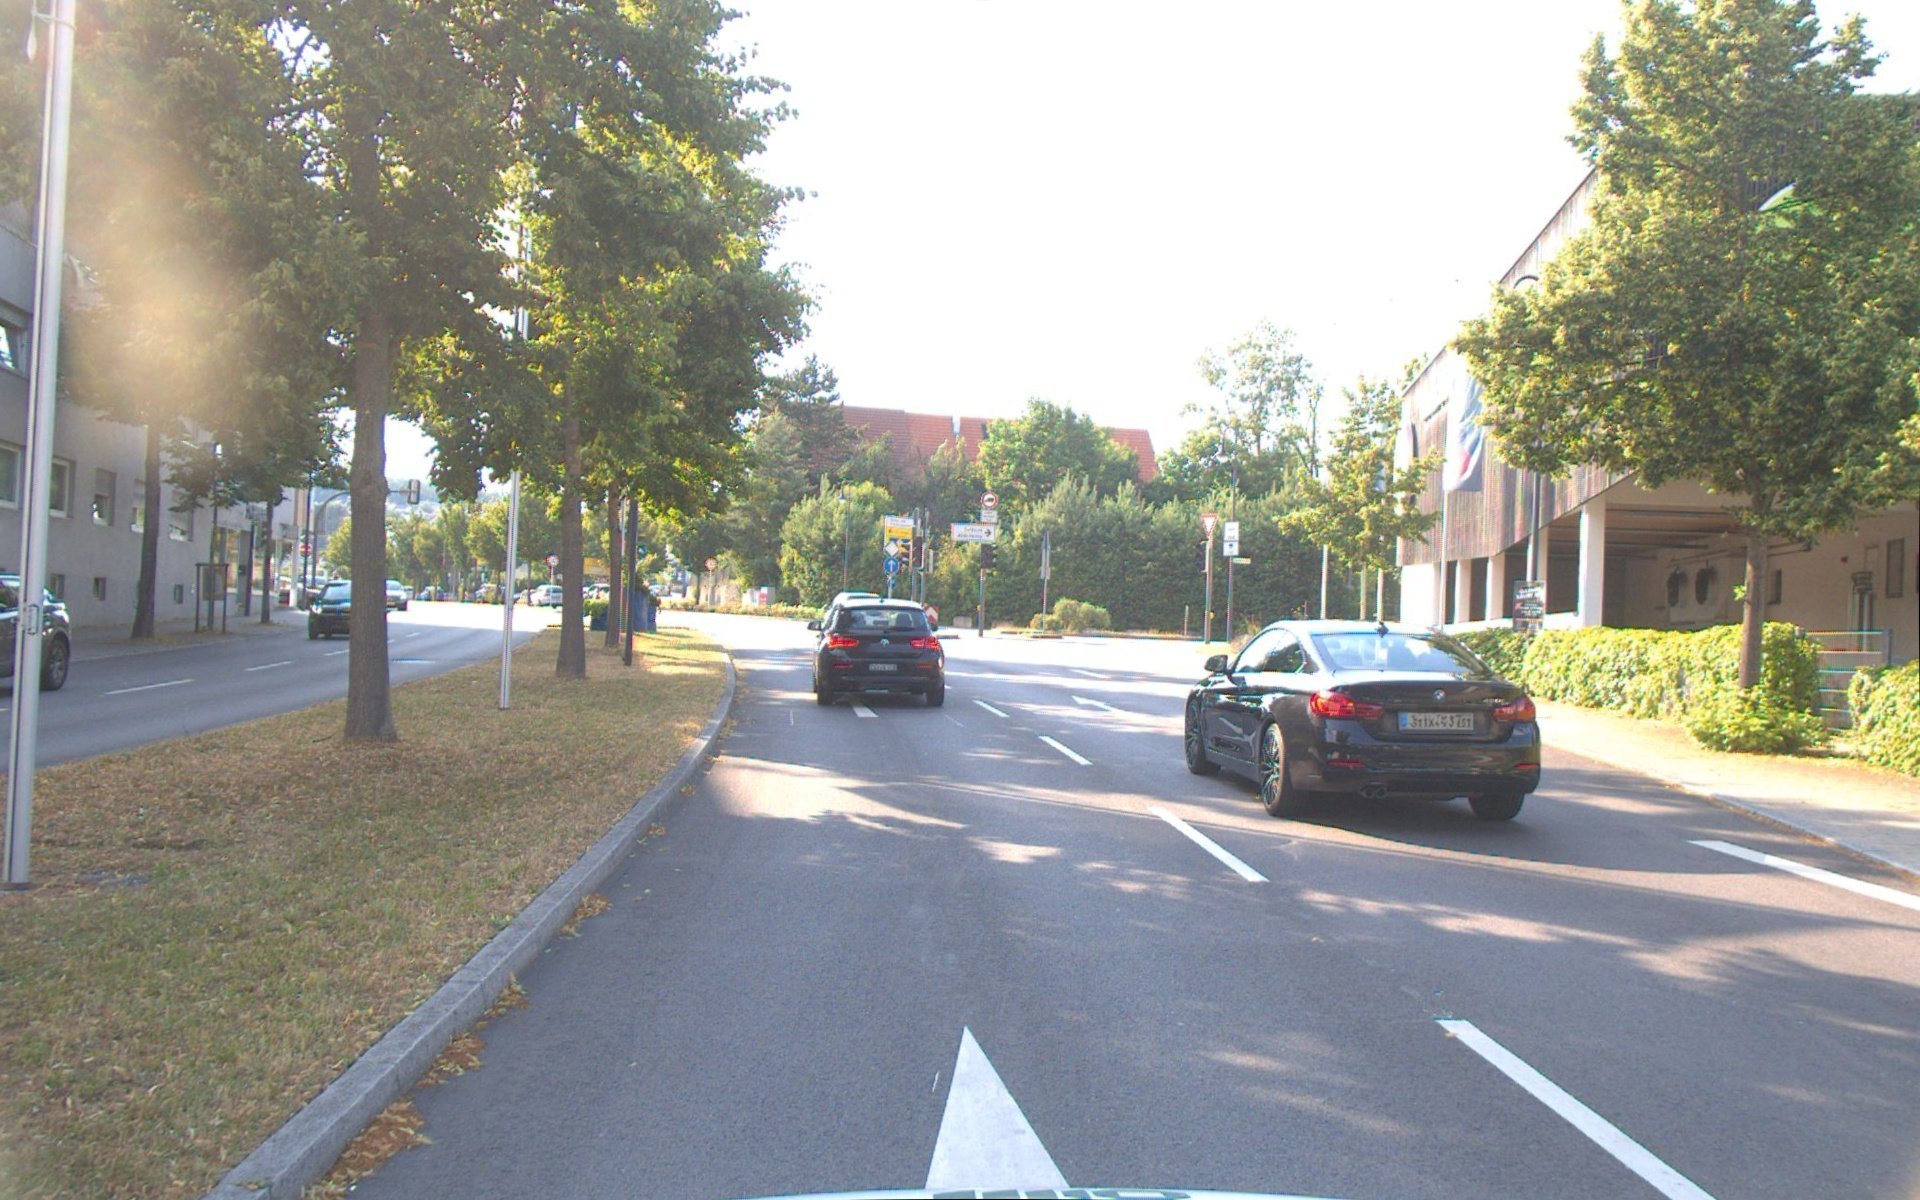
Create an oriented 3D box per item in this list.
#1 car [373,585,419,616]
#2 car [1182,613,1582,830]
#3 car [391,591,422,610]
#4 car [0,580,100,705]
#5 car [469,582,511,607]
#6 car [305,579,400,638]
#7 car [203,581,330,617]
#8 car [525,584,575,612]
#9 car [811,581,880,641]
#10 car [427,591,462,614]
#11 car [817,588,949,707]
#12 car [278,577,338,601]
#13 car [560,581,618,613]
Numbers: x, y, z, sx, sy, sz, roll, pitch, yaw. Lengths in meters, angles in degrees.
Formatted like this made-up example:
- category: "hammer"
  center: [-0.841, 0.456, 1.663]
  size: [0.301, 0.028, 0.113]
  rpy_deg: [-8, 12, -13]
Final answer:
- category: "car"
  center: [-28.878, 0.013, 84.592]
  size: [1.827, 1.512, 4.960]
  rpy_deg: [1, 0, -23]
- category: "car"
  center: [3.066, 0.814, 13.023]
  size: [1.882, 1.388, 4.351]
  rpy_deg: [1, 0, -2]
- category: "car"
  center: [-53.602, 0.034, 160.074]
  size: [2.191, 1.800, 4.414]
  rpy_deg: [1, 0, -28]
- category: "car"
  center: [-12.633, 0.500, 20.553]
  size: [1.902, 1.512, 4.320]
  rpy_deg: [1, 0, -5]
- category: "car"
  center: [-35.564, -0.450, 125.207]
  size: [2.191, 1.800, 4.414]
  rpy_deg: [1, 0, -28]
- category: "car"
  center: [-16.244, 0.225, 44.380]
  size: [1.575, 1.512, 3.777]
  rpy_deg: [1, 0, -8]
- category: "car"
  center: [-29.800, -0.047, 71.208]
  size: [4.780, 1.462, 1.909]
  rpy_deg: [1, 0, -17]
- category: "car"
  center: [-26.991, -0.135, 108.791]
  size: [2.191, 1.800, 4.414]
  rpy_deg: [1, 0, -28]
- category: "car"
  center: [-3.703, 0.330, 52.894]
  size: [1.889, 1.800, 4.446]
  rpy_deg: [1, 0, -8]
- category: "car"
  center: [-44.562, 0.221, 142.930]
  size: [2.191, 1.891, 4.414]
  rpy_deg: [1, 0, -28]
- category: "car"
  center: [-1.173, 0.630, 23.805]
  size: [1.687, 1.516, 4.348]
  rpy_deg: [2, 0, -5]
- category: "car"
  center: [-48.372, -0.809, 122.735]
  size: [4.823, 1.767, 1.851]
  rpy_deg: [1, 0, 36]
- category: "car"
  center: [-21.300, -0.179, 94.806]
  size: [2.191, 1.800, 4.414]
  rpy_deg: [1, 0, -28]
